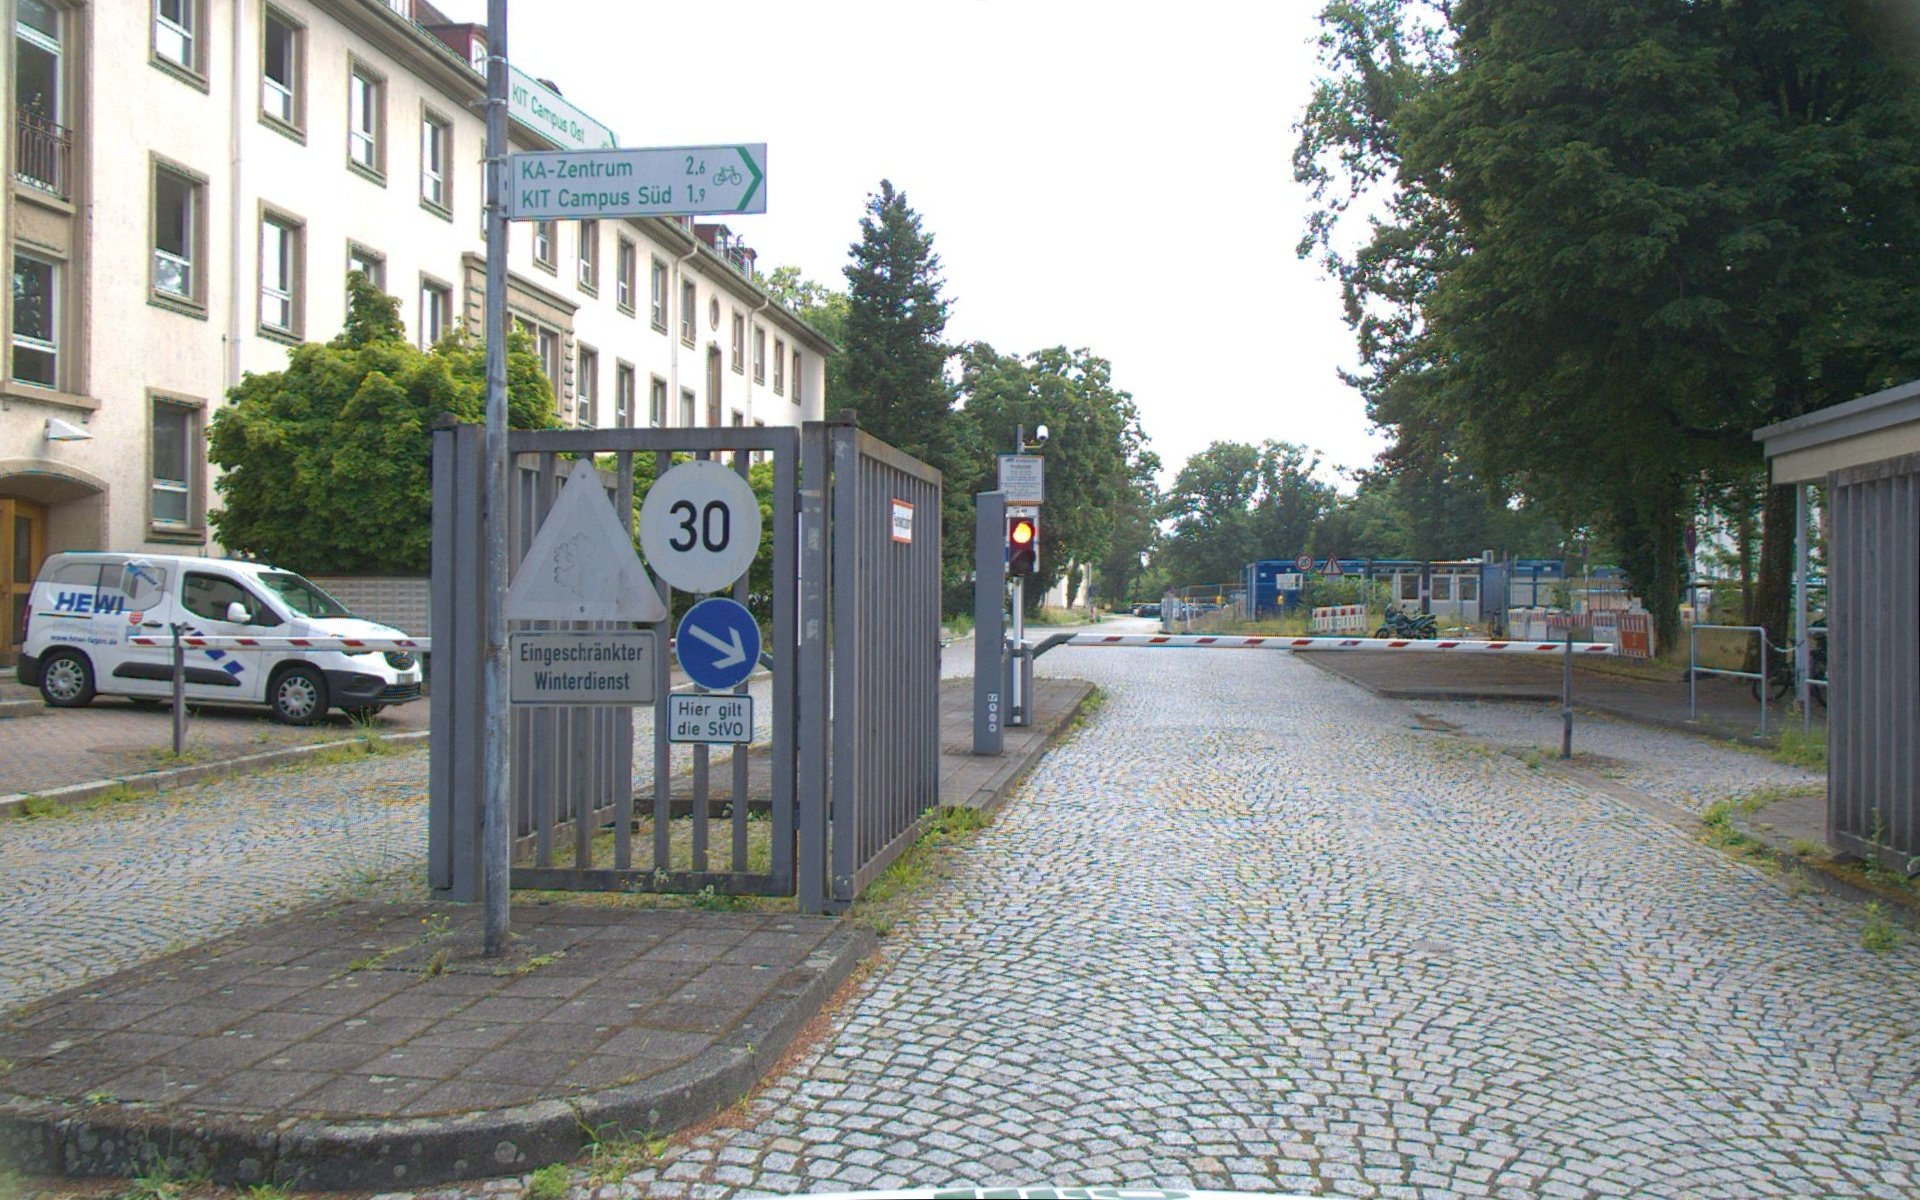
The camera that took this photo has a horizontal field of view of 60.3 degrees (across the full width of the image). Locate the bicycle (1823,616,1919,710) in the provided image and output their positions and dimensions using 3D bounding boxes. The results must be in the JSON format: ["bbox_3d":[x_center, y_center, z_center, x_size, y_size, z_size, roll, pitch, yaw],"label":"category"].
[{"bbox_3d":[12.097,0.812,21.281,1.763,1.191,0.359,0,-2,1],"label":"bicycle"}]

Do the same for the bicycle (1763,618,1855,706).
[{"bbox_3d":[11.678,0.851,22.735,1.361,1.191,0.356,1,-3,-26],"label":"bicycle"}]

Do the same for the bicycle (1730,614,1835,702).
[{"bbox_3d":[11.590,0.803,23.313,1.355,1.191,0.432,-1,0,-15],"label":"bicycle"}]

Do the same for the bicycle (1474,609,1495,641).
[{"bbox_3d":[17.285,0.826,54.521,0.325,1.025,1.727,0,-2,6],"label":"bicycle"}]

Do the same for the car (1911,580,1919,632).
[{"bbox_3d":[32.655,0.196,51.844,1.964,1.679,4.810,1,-1,-20],"label":"car"}]

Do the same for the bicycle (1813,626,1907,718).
[{"bbox_3d":[11.962,0.954,21.979,1.361,1.191,0.356,1,-3,-26],"label":"bicycle"}]

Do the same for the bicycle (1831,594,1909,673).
[{"bbox_3d":[14.218,0.536,25.882,0.493,1.191,1.555,0,-2,6],"label":"bicycle"}]

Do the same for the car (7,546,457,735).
[{"bbox_3d":[-8.409,0.436,19.347,4.344,1.781,1.860,4,0,4],"label":"car"}]

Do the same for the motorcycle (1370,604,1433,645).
[{"bbox_3d":[14.222,0.791,53.325,1.915,1.215,0.462,-1,4,5],"label":"motorcycle"}]

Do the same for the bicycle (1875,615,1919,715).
[{"bbox_3d":[12.098,0.790,20.164,1.769,1.191,0.496,0,-2,-13],"label":"bicycle"}]

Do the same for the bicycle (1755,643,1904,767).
[{"bbox_3d":[8.378,0.984,16.019,0.714,1.091,1.715,0,0,7],"label":"bicycle"}]

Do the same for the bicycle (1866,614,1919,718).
[{"bbox_3d":[11.644,0.768,19.362,1.765,1.191,0.583,0,-2,-5],"label":"bicycle"}]

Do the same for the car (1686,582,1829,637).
[{"bbox_3d":[27.871,0.342,57.929,4.130,1.852,2.001,0,-1,9],"label":"car"}]

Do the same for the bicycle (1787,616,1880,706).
[{"bbox_3d":[11.814,0.823,22.354,1.361,1.191,0.356,1,-3,-26],"label":"bicycle"}]
